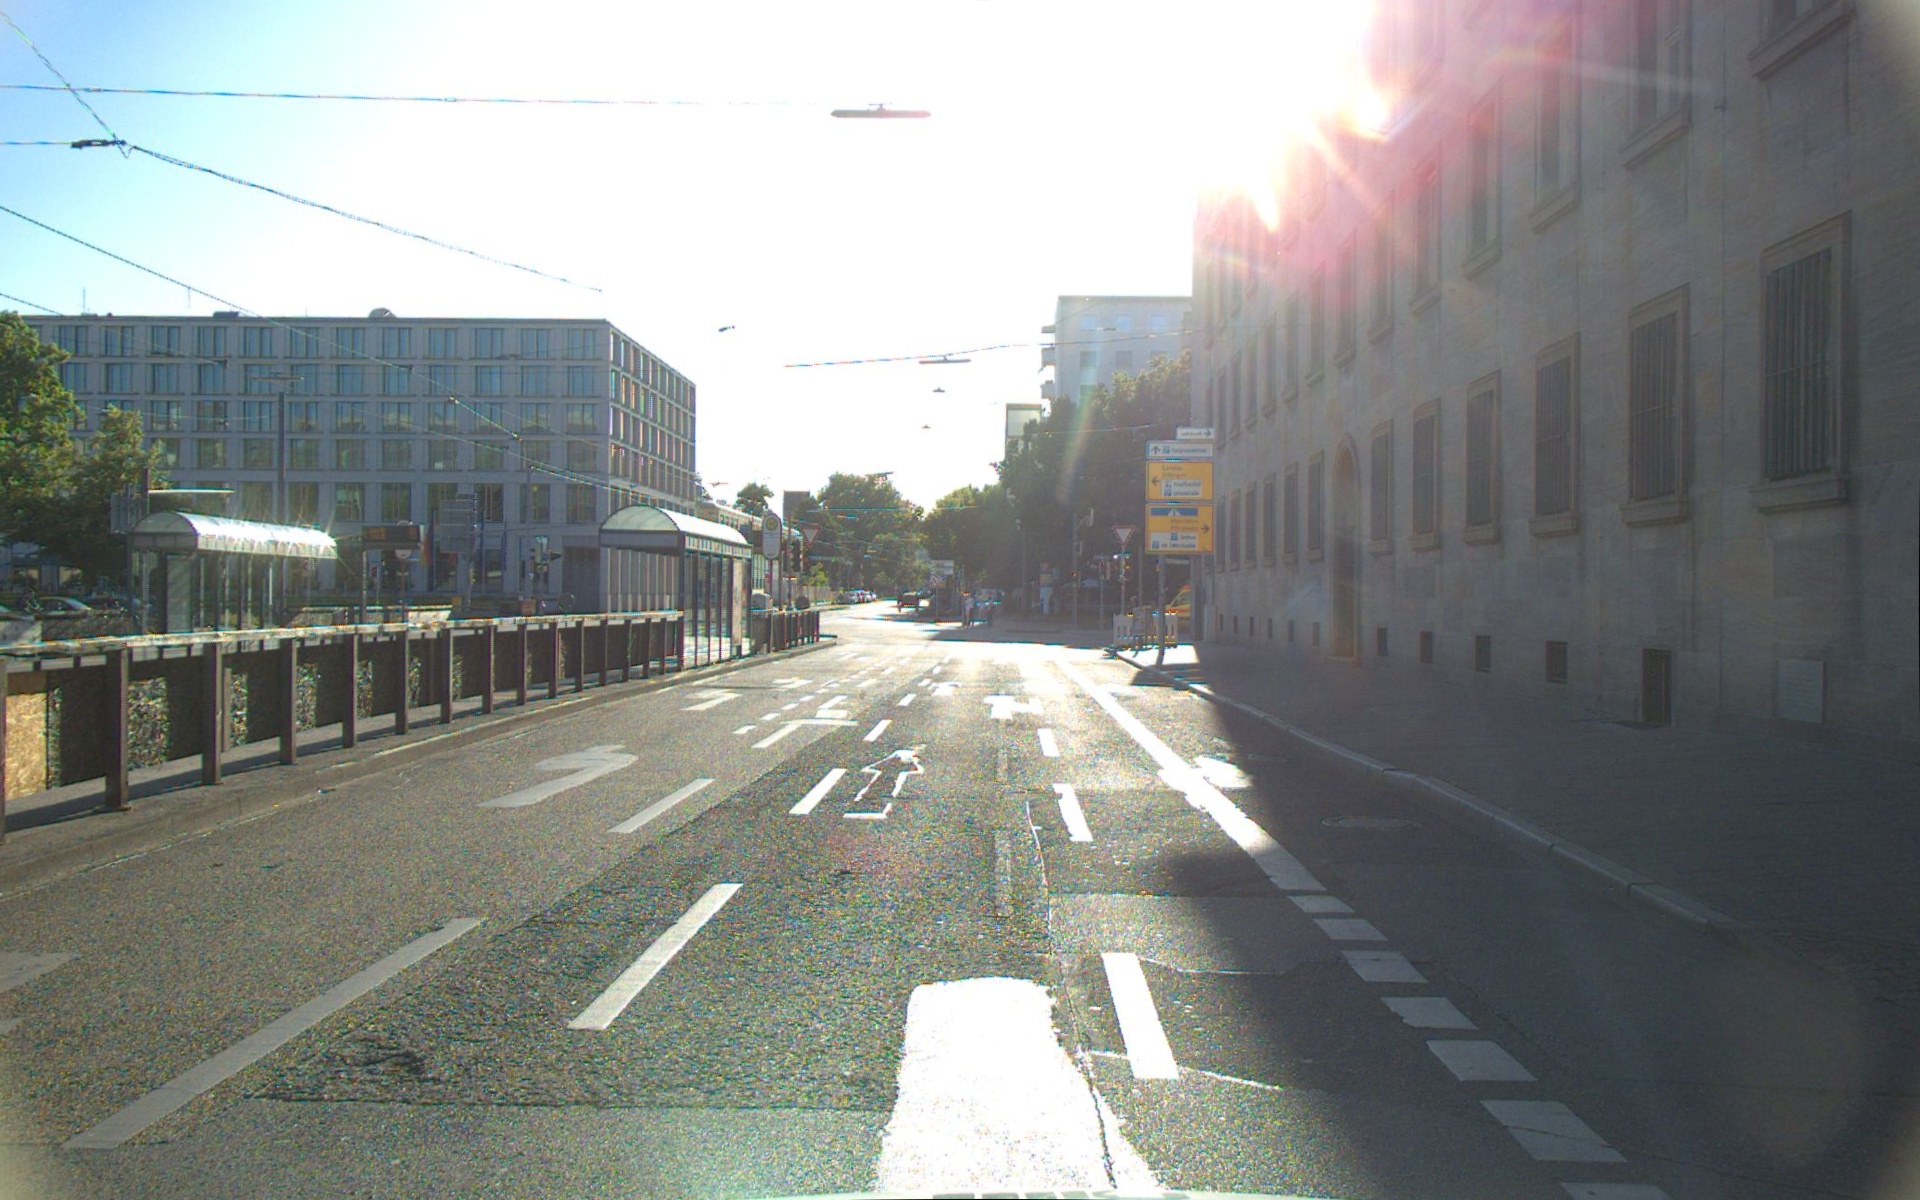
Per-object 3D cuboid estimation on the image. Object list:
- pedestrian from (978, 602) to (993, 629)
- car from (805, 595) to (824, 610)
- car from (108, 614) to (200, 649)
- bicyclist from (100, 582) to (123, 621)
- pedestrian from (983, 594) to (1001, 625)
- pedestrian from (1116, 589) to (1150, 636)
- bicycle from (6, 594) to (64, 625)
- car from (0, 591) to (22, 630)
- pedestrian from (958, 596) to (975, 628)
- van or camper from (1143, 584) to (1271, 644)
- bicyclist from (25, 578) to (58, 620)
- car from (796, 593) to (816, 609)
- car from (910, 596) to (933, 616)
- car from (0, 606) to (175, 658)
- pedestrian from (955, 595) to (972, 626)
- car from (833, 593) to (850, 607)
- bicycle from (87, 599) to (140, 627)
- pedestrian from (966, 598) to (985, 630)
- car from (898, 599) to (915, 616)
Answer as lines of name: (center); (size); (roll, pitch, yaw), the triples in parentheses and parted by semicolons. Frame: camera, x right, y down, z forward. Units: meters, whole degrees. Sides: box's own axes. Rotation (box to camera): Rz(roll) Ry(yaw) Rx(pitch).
pedestrian: (1.504, 0.919, 97.153); (0.749, 1.586, 0.585); (0, 0, -15)
car: (-17.140, 0.297, 195.139); (1.782, 1.742, 3.806); (0, 0, 1)
car: (-37.079, 1.435, 76.168); (3.458, 1.532, 1.522); (1, 0, -1)
bicyclist: (-35.306, 0.055, 68.844); (0.605, 1.610, 0.594); (0, 0, 11)
pedestrian: (1.871, 0.539, 96.365); (0.833, 1.815, 0.777); (0, 0, -15)
pedestrian: (6.476, 0.464, 61.912); (1.020, 1.751, 1.033); (0, 0, -10)
bicycle: (-38.633, 0.398, 69.091); (2.004, 1.311, 0.887); (0, 0, 7)
car: (-39.231, 0.382, 65.343); (3.458, 1.532, 1.522); (1, 0, -1)
pedestrian: (0.405, 0.697, 96.882); (0.833, 1.815, 0.777); (0, 0, -15)
van or camper: (13.137, 0.755, 88.342); (6.566, 2.911, 2.912); (2, -1, 6)
bicyclist: (-38.352, -0.052, 69.084); (0.871, 1.724, 0.845); (0, 0, 7)
car: (-17.097, 0.060, 184.239); (1.782, 1.742, 3.806); (0, 0, 1)
car: (-3.086, 0.514, 134.632); (1.649, 1.527, 3.509); (2, -1, 1)
car: (-25.000, 0.917, 47.332); (4.456, 1.374, 1.573); (2, -1, -32)
pedestrian: (0.217, 0.643, 97.730); (0.833, 1.815, 0.777); (0, 0, -15)
car: (-14.773, -0.024, 206.922); (1.782, 1.742, 3.806); (0, 0, 1)
bicycle: (-35.218, 0.538, 68.788); (1.882, 1.142, 0.791); (0, 0, 11)
pedestrian: (0.899, 0.816, 95.300); (0.950, 1.815, 0.777); (0, 0, -15)
car: (-5.767, 0.830, 179.215); (1.649, 1.768, 3.509); (2, -1, 1)
